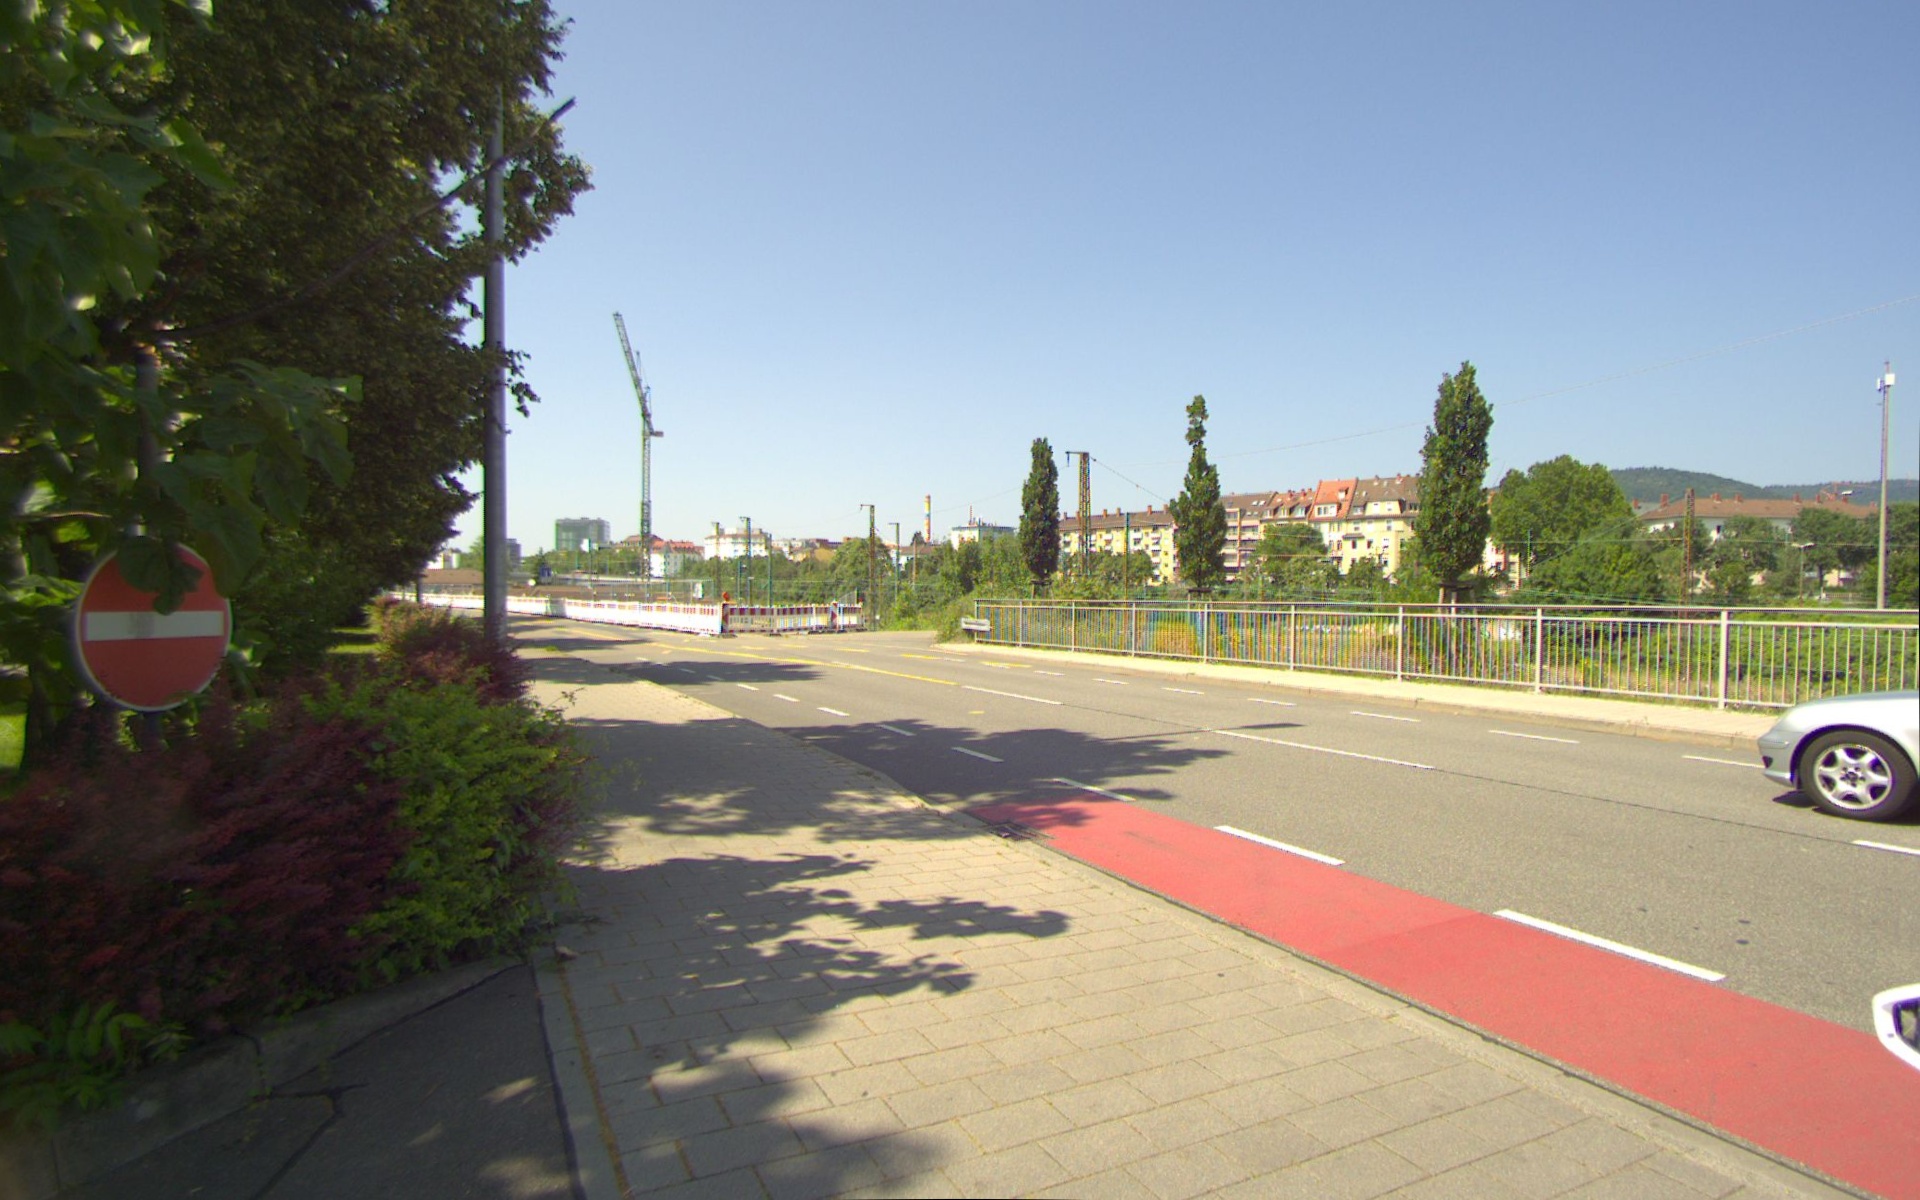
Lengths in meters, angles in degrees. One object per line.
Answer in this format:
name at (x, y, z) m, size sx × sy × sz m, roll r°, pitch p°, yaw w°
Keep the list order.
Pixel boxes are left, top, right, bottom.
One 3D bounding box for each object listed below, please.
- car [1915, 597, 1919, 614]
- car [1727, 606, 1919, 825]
car at (81.841, 0.488, 82.966) m, size 1.829 × 1.385 × 4.316 m, roll 0°, pitch 0°, yaw 1°
car at (7.544, 0.794, 6.045) m, size 1.692 × 1.422 × 4.355 m, roll 1°, pitch 0°, yaw -27°
